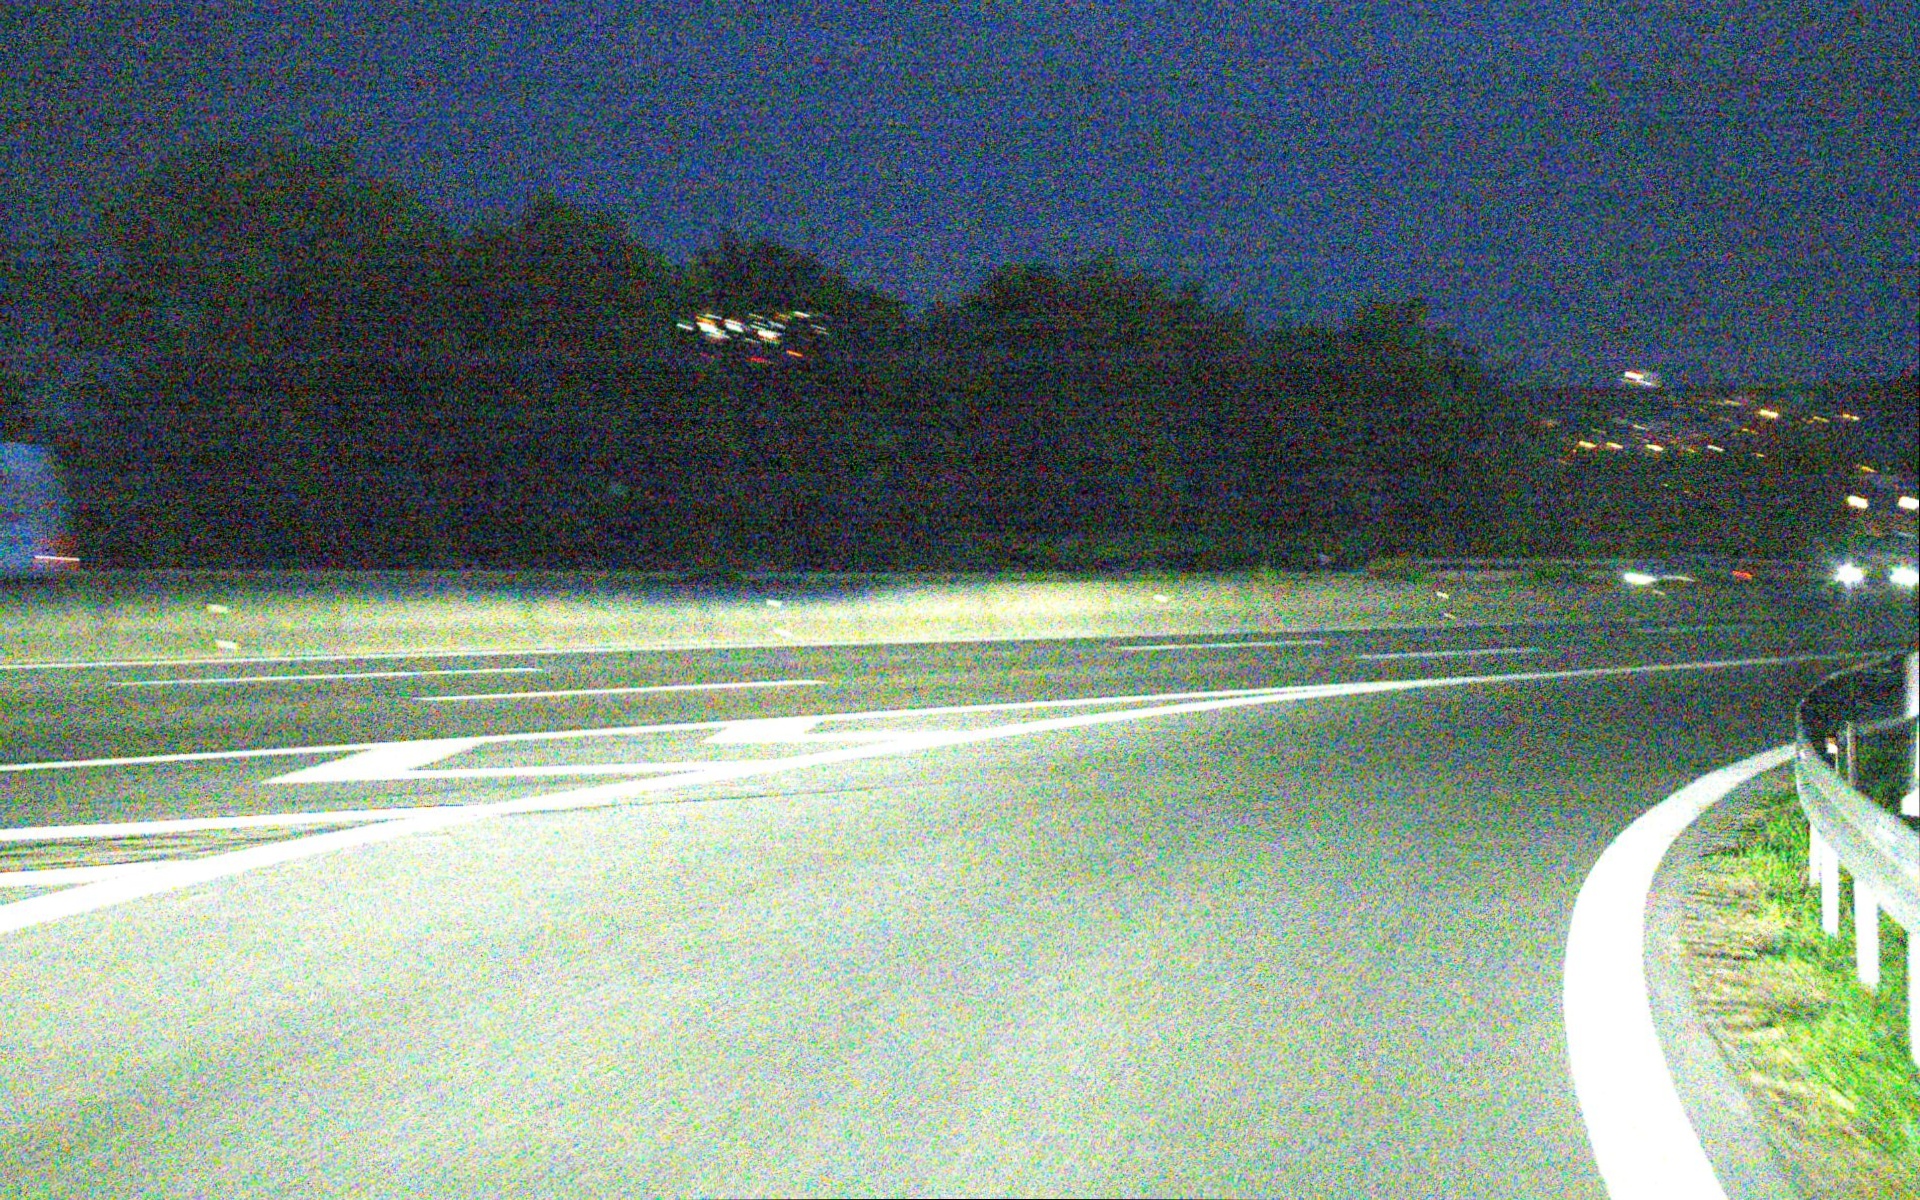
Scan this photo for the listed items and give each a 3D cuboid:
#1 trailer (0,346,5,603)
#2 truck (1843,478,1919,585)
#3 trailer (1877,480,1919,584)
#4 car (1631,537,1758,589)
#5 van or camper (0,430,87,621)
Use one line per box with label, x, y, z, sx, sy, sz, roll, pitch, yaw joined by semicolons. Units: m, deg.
trailer;-19.036;-1.883;45.865;2.764;3.803;13.734;2;1;33
truck;34.739;-2.481;125.727;2.764;3.788;5.951;2;2;35
trailer;38.985;-2.533;131.861;2.764;3.788;13.732;2;2;35
car;21.366;-1.076;99.908;1.998;1.419;4.360;2;2;36
van or camper;-14.687;-1.008;44.467;1.997;2.541;7.171;2;1;32
